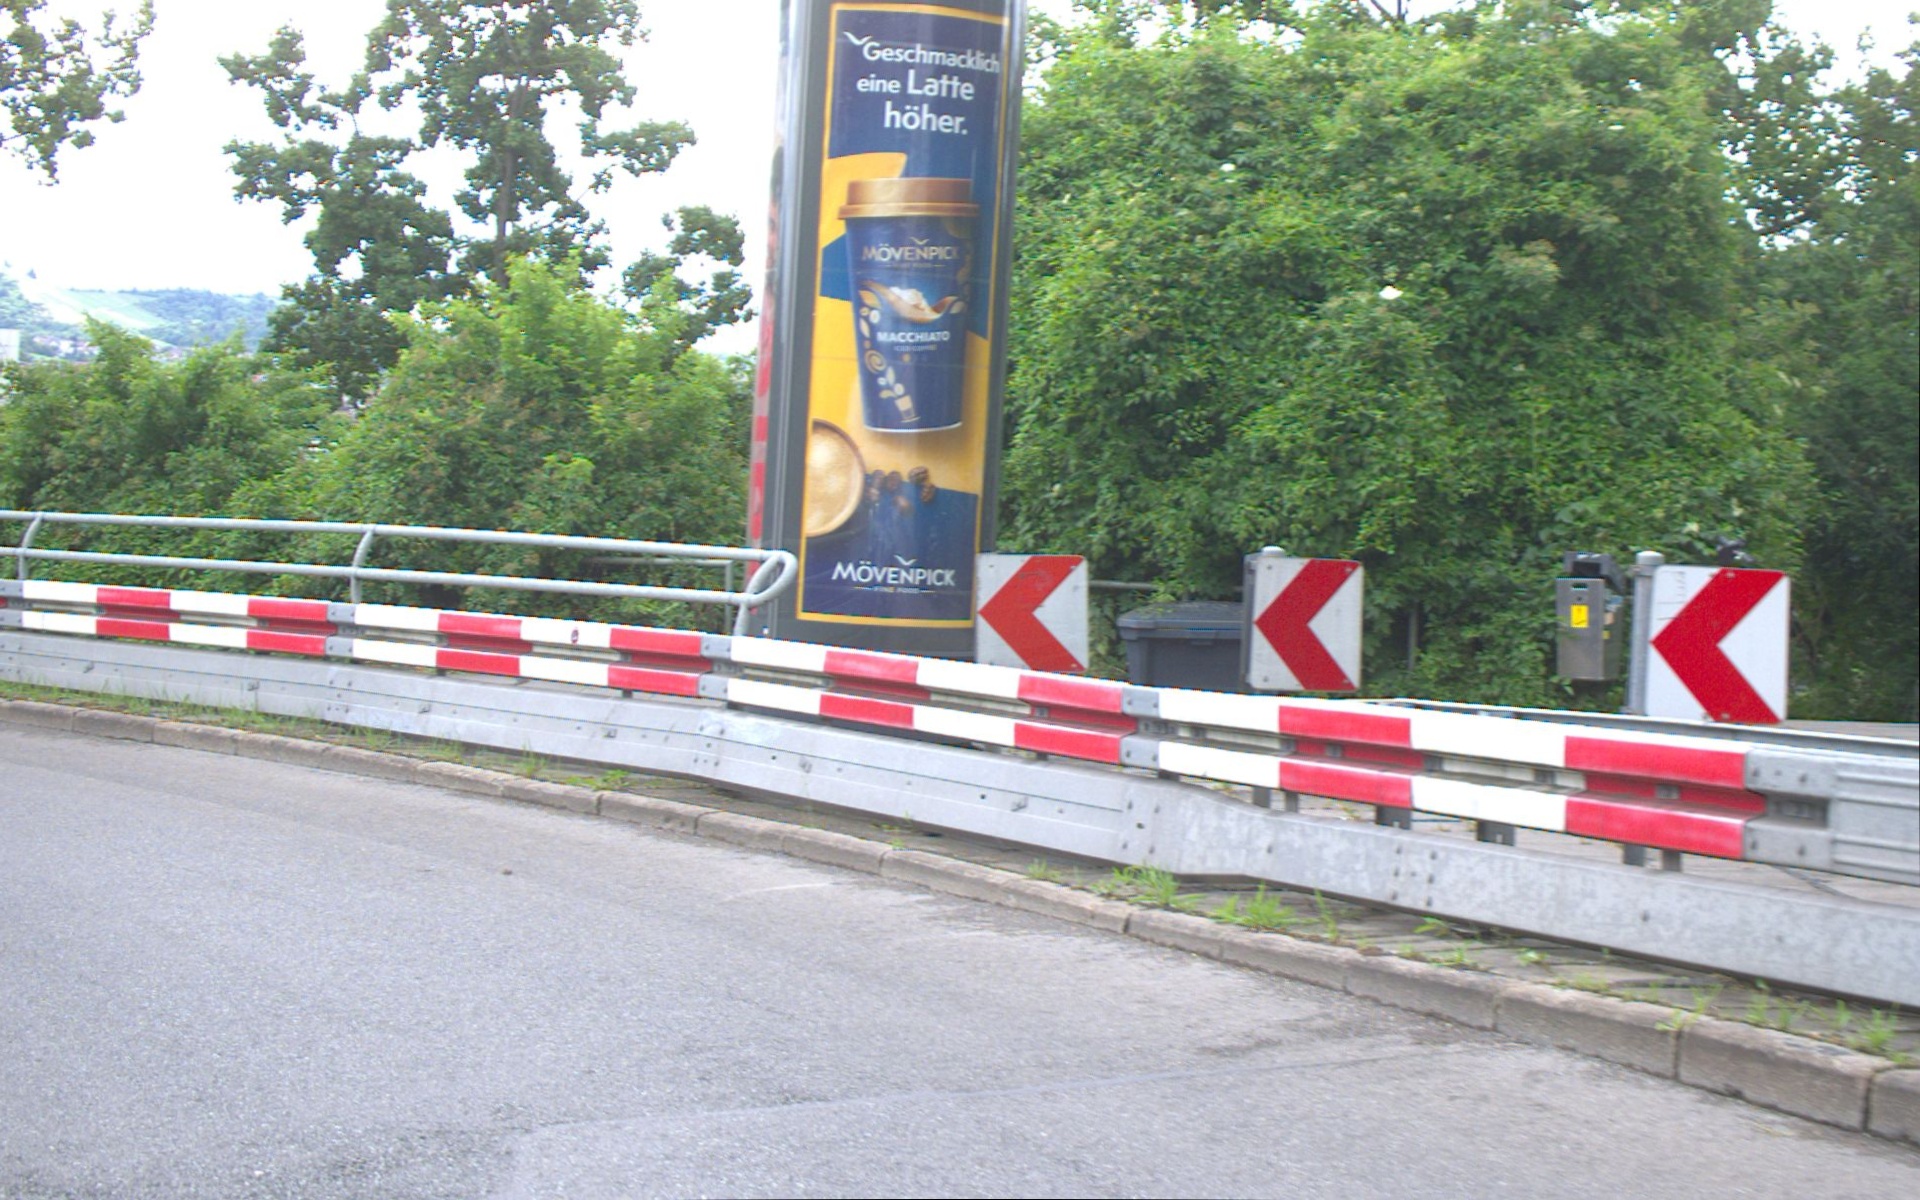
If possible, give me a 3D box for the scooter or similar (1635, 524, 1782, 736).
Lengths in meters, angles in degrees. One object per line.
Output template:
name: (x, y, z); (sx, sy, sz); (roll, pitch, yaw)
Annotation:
scooter or similar: (4.627, 0.173, 21.200); (0.436, 1.246, 1.499); (3, 2, 28)
